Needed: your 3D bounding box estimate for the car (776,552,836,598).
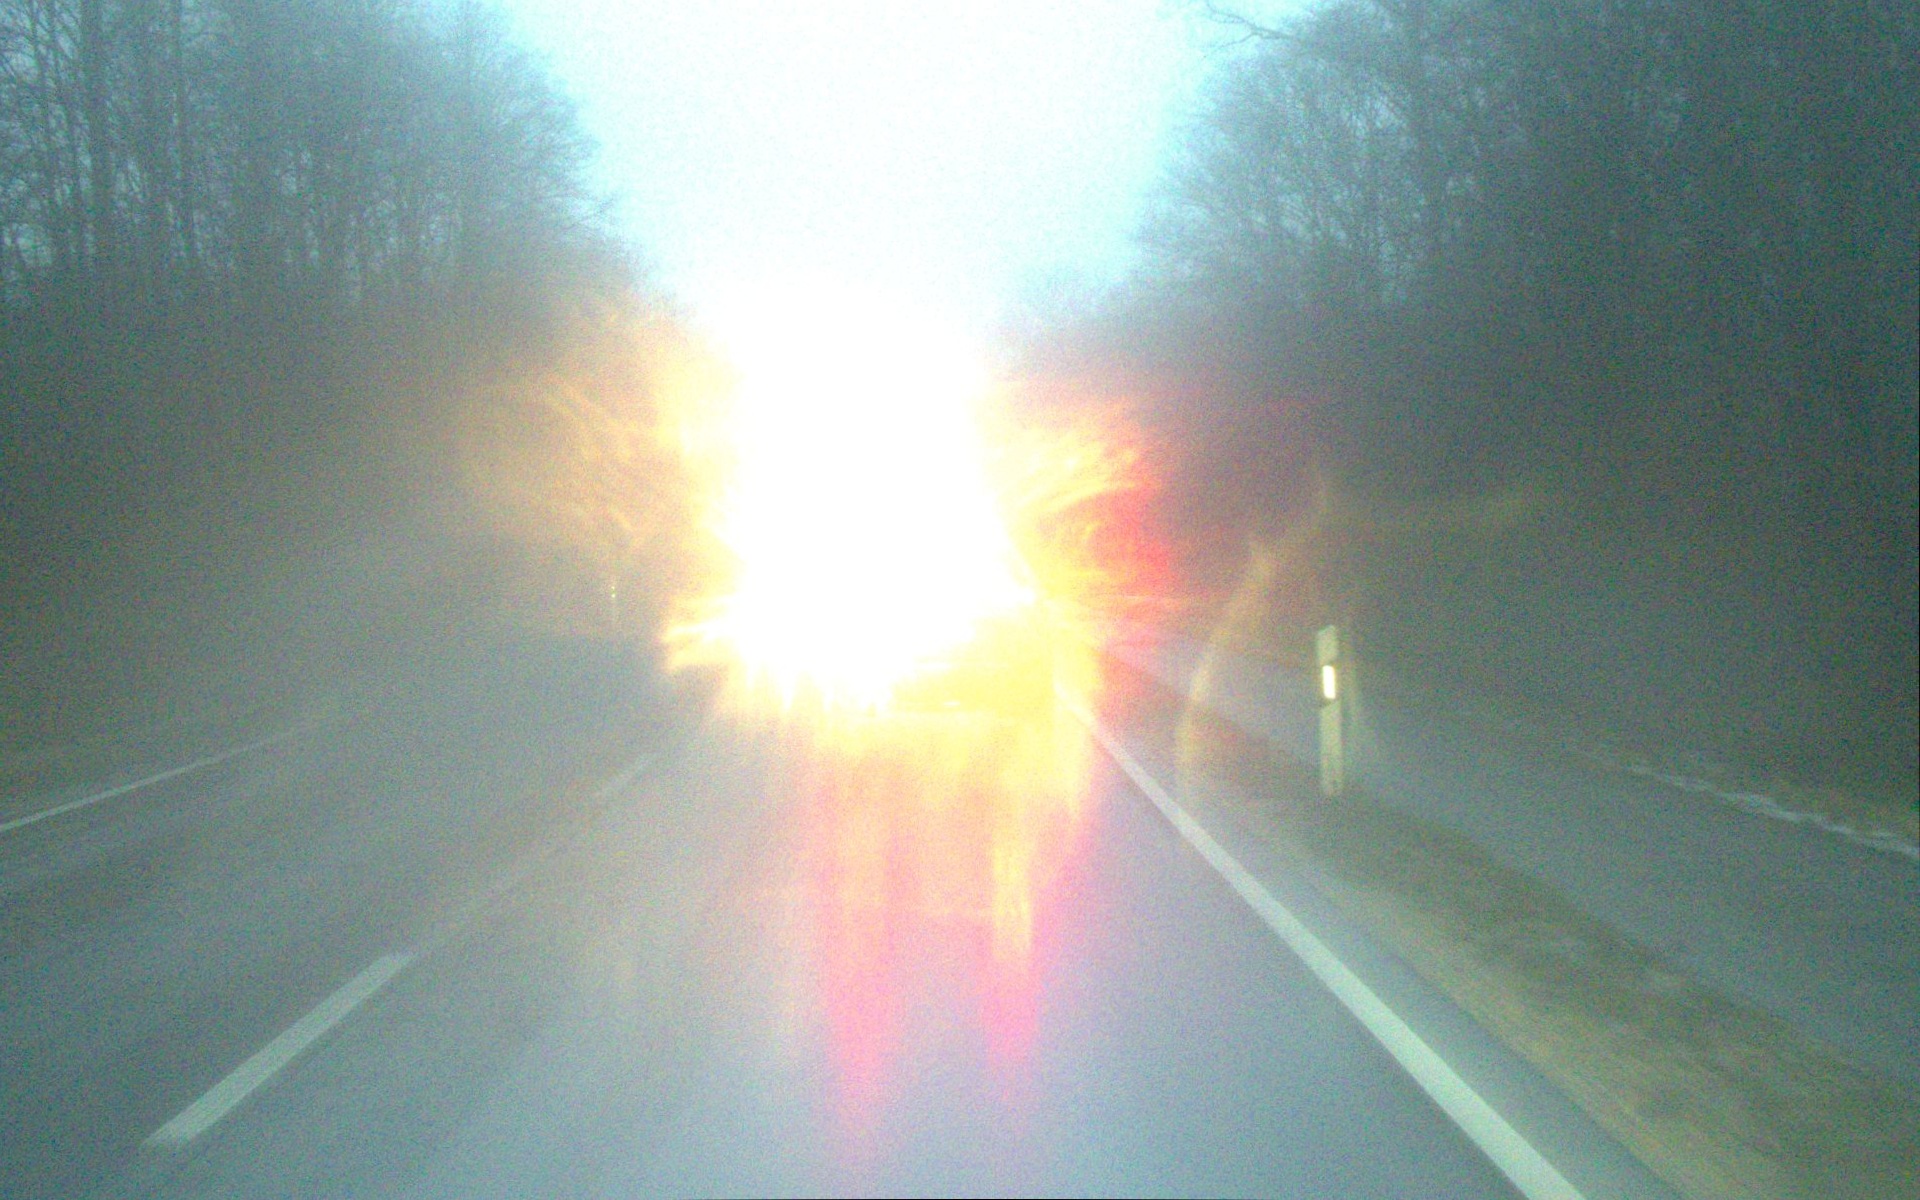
[{"bbox_3d":[-5.156,-0.852,115.428,1.799,1.456,4.177,-2,1,0],"label":"car"}]
